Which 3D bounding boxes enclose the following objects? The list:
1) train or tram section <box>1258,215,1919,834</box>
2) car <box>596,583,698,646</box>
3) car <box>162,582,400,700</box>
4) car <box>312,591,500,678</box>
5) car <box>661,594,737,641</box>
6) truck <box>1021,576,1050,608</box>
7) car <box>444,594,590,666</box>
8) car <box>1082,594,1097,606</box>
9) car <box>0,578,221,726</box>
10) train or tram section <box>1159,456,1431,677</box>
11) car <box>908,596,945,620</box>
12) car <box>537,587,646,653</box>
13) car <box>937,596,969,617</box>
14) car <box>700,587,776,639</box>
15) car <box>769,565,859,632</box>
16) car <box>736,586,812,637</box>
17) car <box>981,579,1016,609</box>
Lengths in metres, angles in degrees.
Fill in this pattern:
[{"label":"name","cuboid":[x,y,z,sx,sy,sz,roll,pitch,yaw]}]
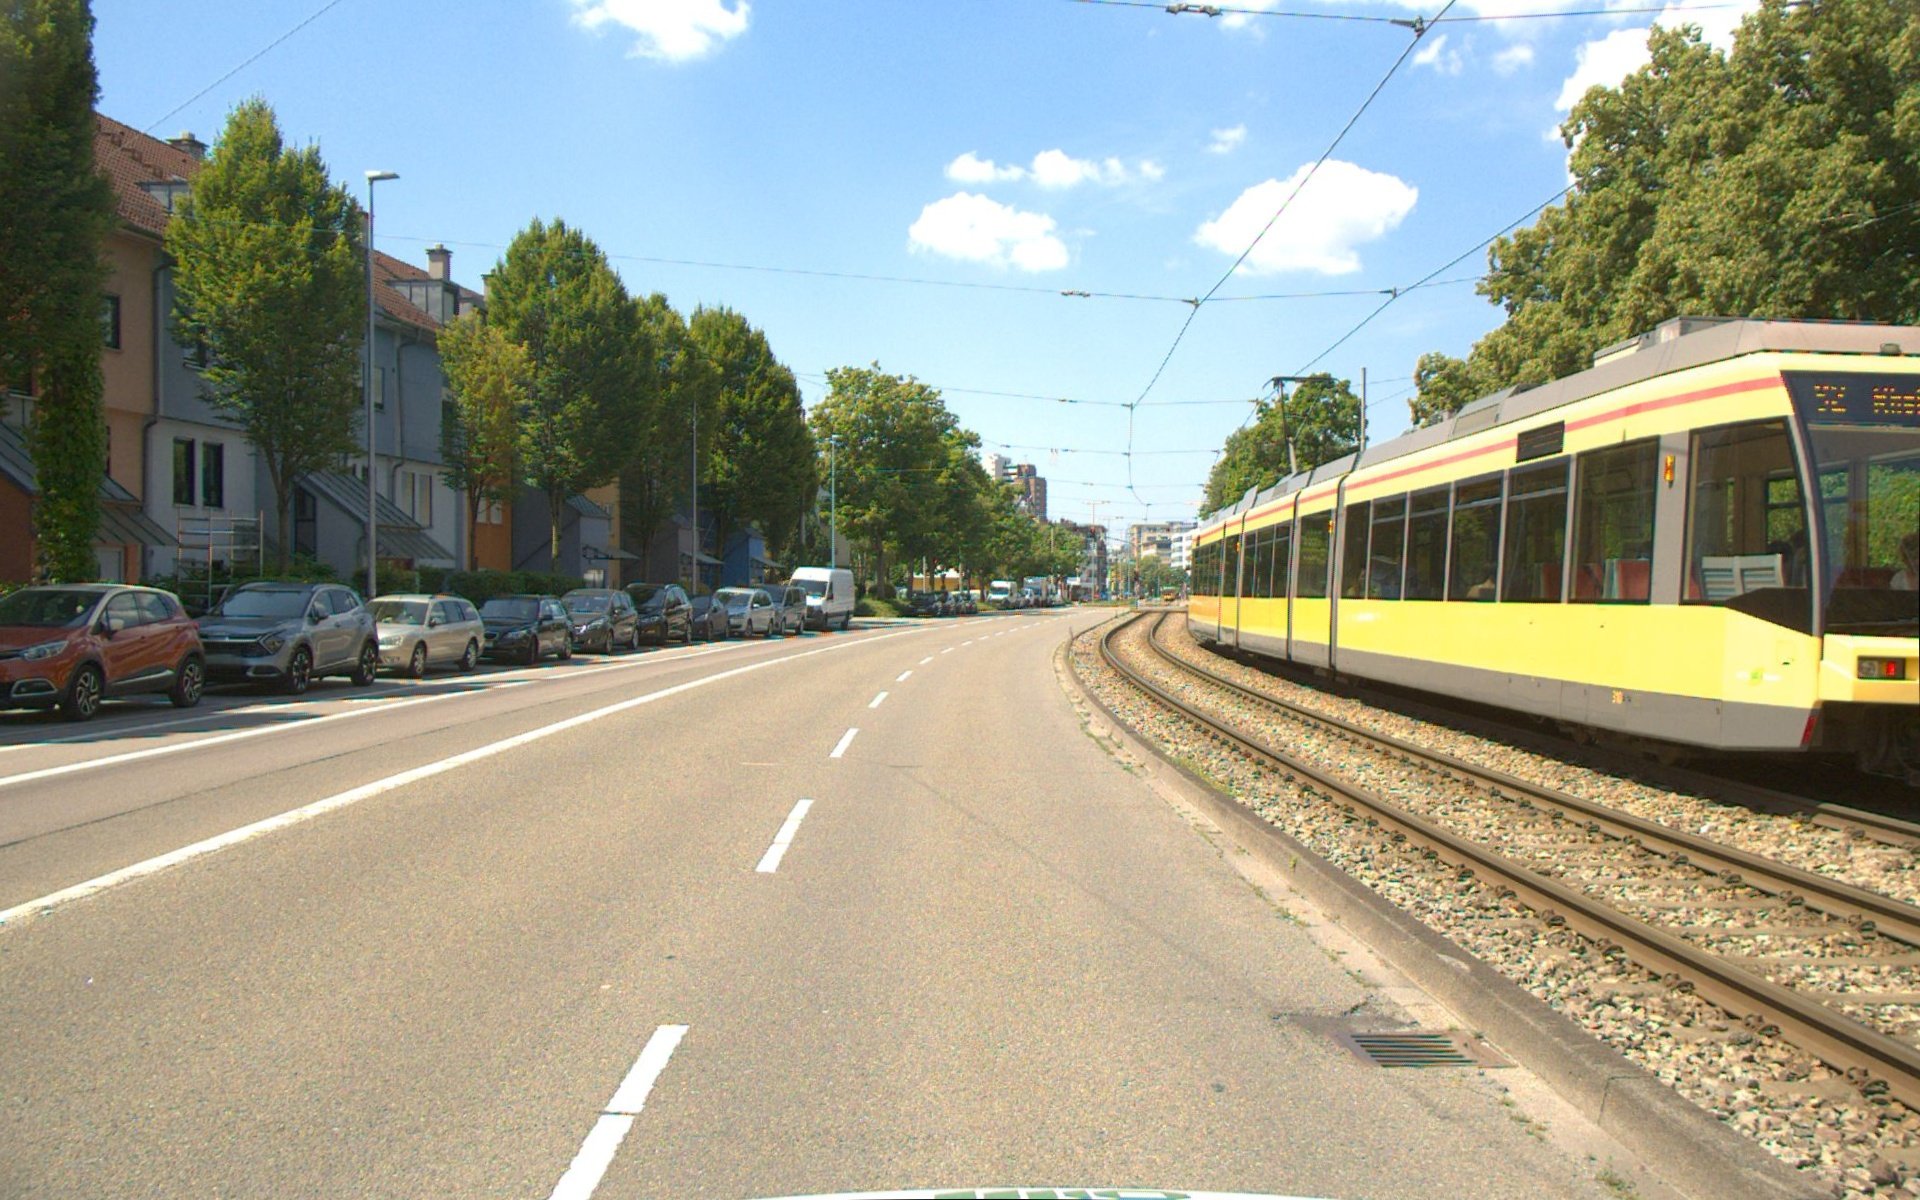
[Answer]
[{"label":"train or tram section","cuboid":[6.583,-0.505,19.274,2.883,3.756,18.389,1,0,0]},{"label":"car","cuboid":[-9.185,0.390,48.906,1.714,1.746,4.891,0,0,5]},{"label":"car","cuboid":[-10.580,0.575,26.163,1.621,1.637,4.689,2,1,2]},{"label":"car","cuboid":[-10.528,0.597,31.833,1.620,1.534,4.899,0,0,5]},{"label":"car","cuboid":[-8.606,0.547,54.840,1.564,1.497,4.090,0,0,5]},{"label":"truck","cuboid":[8.203,-0.895,179.202,2.111,3.266,7.088,3,1,10]},{"label":"car","cuboid":[-10.064,0.634,37.938,1.705,1.472,4.966,2,0,3]},{"label":"car","cuboid":[16.636,-0.044,212.884,1.737,1.485,4.198,-1,0,6]},{"label":"car","cuboid":[-10.862,0.569,20.459,1.622,1.637,4.173,0,0,-1]},{"label":"train or tram section","cuboid":[6.982,-0.644,38.587,2.882,3.756,20.289,1,0,2]},{"label":"car","cuboid":[-2.087,0.471,103.786,1.737,1.481,4.808,0,0,6]},{"label":"car","cuboid":[-9.688,0.482,43.772,1.620,1.645,4.288,0,0,5]},{"label":"car","cuboid":[-0.470,0.428,117.208,1.737,1.397,4.700,2,0,6]},{"label":"car","cuboid":[-7.935,0.447,59.568,1.680,1.783,4.907,0,0,5]},{"label":"car","cuboid":[-6.422,-0.088,73.716,2.275,2.697,7.041,4,1,8]},{"label":"car","cuboid":[-7.278,0.415,65.138,1.768,1.928,5.366,0,0,7]},{"label":"car","cuboid":[3.558,-0.561,151.257,2.111,2.530,6.198,3,1,10]}]
